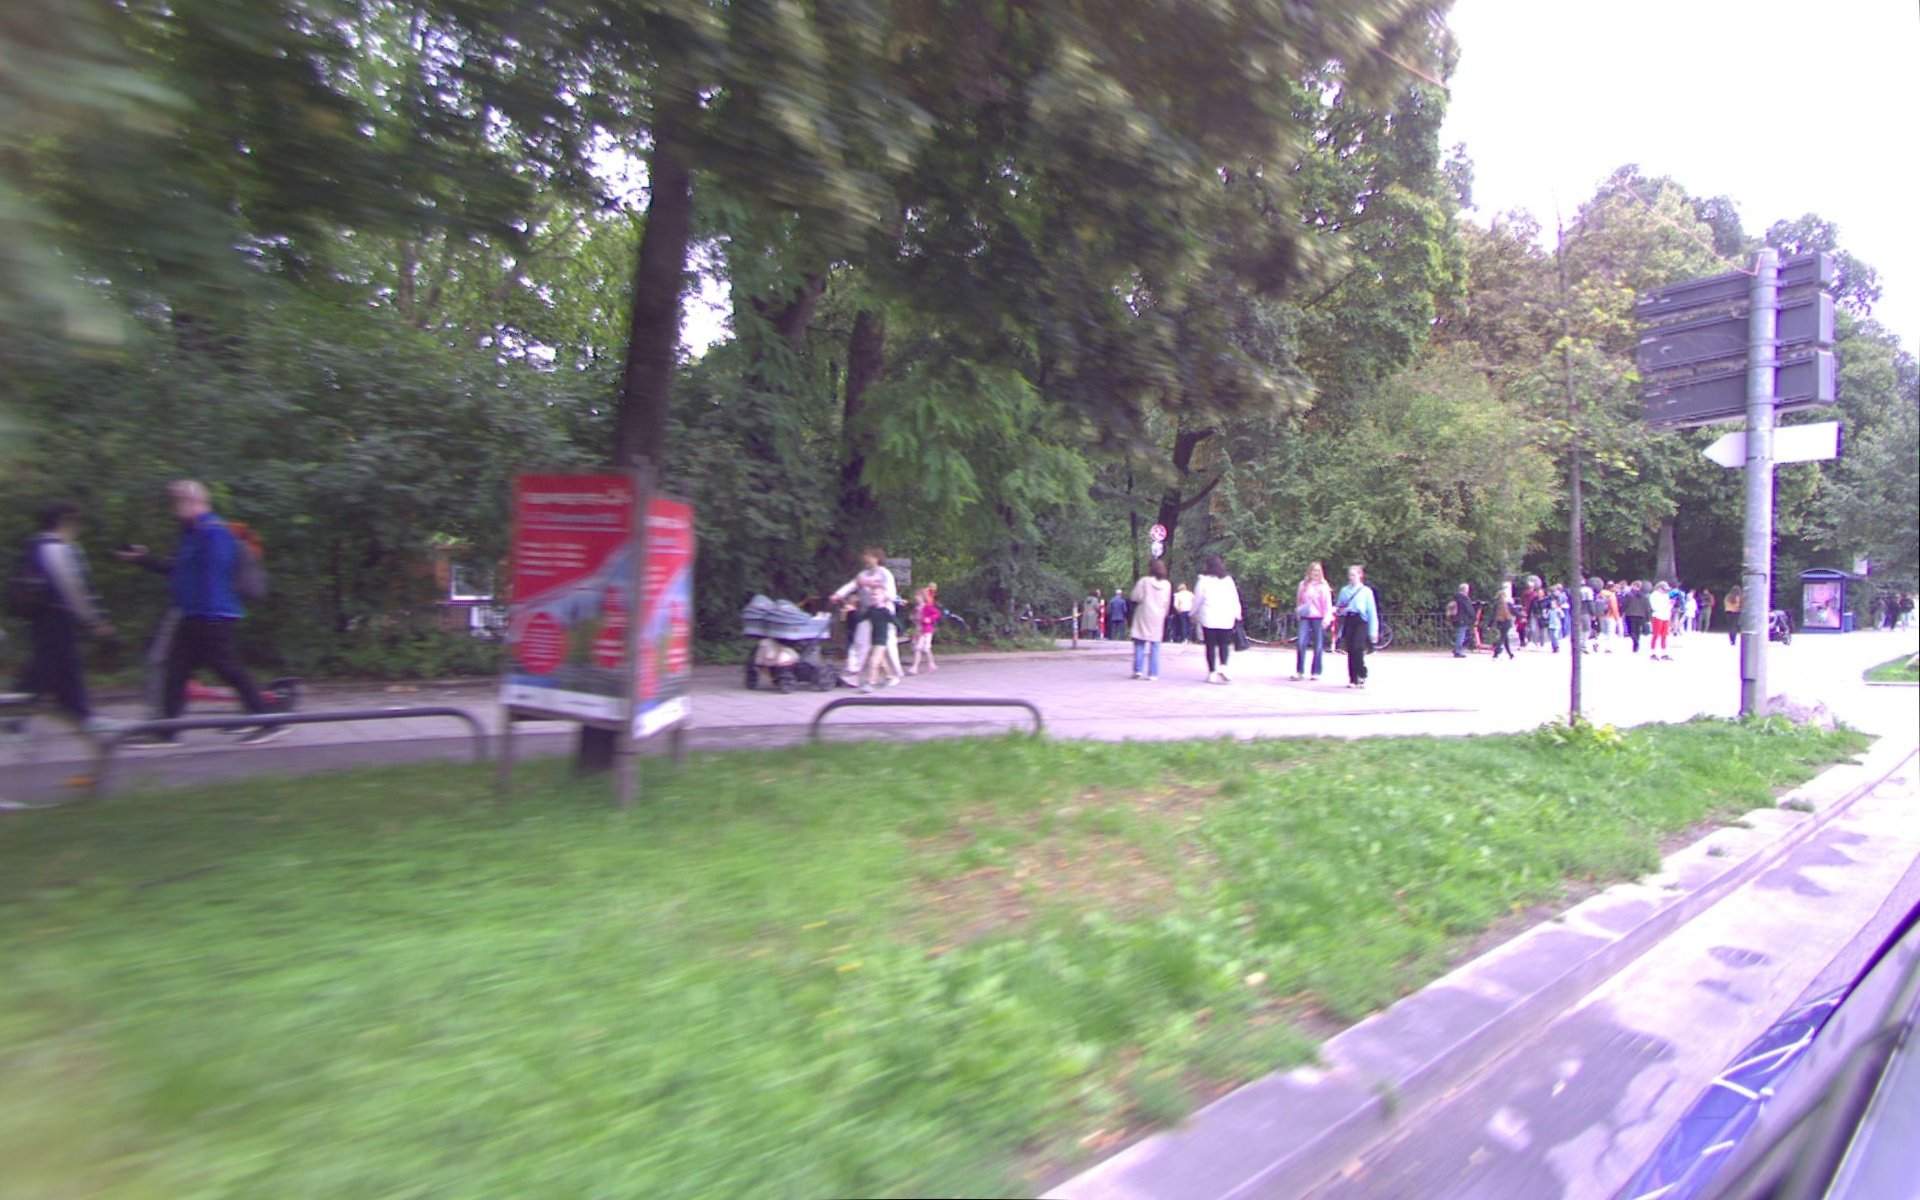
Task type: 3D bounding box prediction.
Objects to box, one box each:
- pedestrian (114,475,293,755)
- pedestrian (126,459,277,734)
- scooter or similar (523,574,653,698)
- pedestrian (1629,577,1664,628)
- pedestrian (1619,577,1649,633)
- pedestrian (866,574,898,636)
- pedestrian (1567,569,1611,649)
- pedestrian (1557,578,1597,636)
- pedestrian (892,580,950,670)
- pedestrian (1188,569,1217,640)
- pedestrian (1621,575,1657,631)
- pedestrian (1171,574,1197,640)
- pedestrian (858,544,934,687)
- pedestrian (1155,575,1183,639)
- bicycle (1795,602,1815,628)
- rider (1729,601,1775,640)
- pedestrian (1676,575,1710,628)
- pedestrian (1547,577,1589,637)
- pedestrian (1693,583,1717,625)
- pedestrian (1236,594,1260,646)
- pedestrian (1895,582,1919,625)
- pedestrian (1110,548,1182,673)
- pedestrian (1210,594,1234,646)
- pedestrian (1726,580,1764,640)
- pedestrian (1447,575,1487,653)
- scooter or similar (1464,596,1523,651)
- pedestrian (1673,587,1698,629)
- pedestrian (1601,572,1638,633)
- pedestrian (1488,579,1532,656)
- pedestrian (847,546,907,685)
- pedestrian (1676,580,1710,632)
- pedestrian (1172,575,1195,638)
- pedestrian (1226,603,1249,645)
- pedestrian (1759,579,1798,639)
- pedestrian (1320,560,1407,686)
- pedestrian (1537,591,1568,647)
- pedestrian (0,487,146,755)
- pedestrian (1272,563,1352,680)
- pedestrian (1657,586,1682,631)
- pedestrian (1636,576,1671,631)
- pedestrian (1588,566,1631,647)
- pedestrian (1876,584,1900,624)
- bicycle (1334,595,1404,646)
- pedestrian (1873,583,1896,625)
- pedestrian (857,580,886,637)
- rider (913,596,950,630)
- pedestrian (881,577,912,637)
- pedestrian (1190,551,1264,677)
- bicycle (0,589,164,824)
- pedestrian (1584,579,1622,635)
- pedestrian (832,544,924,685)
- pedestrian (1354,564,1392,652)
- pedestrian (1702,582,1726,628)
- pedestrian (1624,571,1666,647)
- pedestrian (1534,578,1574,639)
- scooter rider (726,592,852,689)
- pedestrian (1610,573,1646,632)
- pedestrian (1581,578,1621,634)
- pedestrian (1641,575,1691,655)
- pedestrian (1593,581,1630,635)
[{"bbox_3d":[-5.093,0.093,6.876,0.832,1.759,0.758,0,0,-26],"label":"pedestrian"},{"bbox_3d":[-5.458,-0.023,7.287,0.835,1.845,0.589,0,-1,-40],"label":"pedestrian"},{"bbox_3d":[-3.847,0.350,10.508,1.197,1.214,0.418,0,0,-41],"label":"scooter or similar"},{"bbox_3d":[23.254,0.077,34.280,0.661,1.712,0.814,0,0,-38],"label":"pedestrian"},{"bbox_3d":[21.045,0.152,31.592,0.715,1.712,0.593,0,-1,-39],"label":"pedestrian"},{"bbox_3d":[-2.195,0.144,28.632,0.687,1.717,0.605,0,0,30],"label":"pedestrian"},{"bbox_3d":[15.073,0.210,24.244,0.678,1.896,0.612,0,0,-25],"label":"pedestrian"},{"bbox_3d":[18.486,0.193,30.340,0.715,1.712,0.814,0,1,-39],"label":"pedestrian"},{"bbox_3d":[-0.516,0.320,13.391,0.561,1.151,0.634,0,0,-26],"label":"pedestrian"},{"bbox_3d":[5.929,0.110,24.781,0.683,1.717,0.609,0,0,14],"label":"pedestrian"},{"bbox_3d":[22.702,0.097,33.832,0.715,1.813,0.814,0,0,-39],"label":"pedestrian"},{"bbox_3d":[6.185,0.190,27.957,0.556,1.785,0.523,0,0,-10],"label":"pedestrian"},{"bbox_3d":[-0.719,0.164,11.297,0.552,1.534,0.682,0,-1,-40],"label":"pedestrian"},{"bbox_3d":[5.879,0.188,28.509,0.540,1.785,0.612,0,0,-19],"label":"pedestrian"},{"bbox_3d":[34.682,0.611,41.542,1.549,1.074,0.393,0,-1,-42],"label":"bicycle"},{"bbox_3d":[23.527,0.604,30.064,1.221,1.126,0.767,0,0,-36],"label":"rider"},{"bbox_3d":[26.009,0.064,35.910,0.715,1.852,0.814,0,0,-39],"label":"pedestrian"},{"bbox_3d":[17.915,0.198,29.812,0.715,1.711,0.814,0,2,-39],"label":"pedestrian"},{"bbox_3d":[29.168,0.155,39.608,0.523,1.647,0.637,0,-1,-38],"label":"pedestrian"},{"bbox_3d":[8.300,0.562,29.186,0.507,1.492,0.409,0,0,-19],"label":"pedestrian"},{"bbox_3d":[43.450,0.150,46.425,0.940,1.939,0.709,0,-1,-41],"label":"pedestrian"},{"bbox_3d":[2.576,0.138,14.055,0.676,1.664,0.758,0,0,-26],"label":"pedestrian"},{"bbox_3d":[7.480,0.563,28.906,0.507,1.492,0.409,0,0,-19],"label":"pedestrian"},{"bbox_3d":[23.092,0.286,29.767,0.636,1.712,0.728,0,0,-36],"label":"pedestrian"},{"bbox_3d":[11.059,0.300,22.091,0.683,1.672,0.608,0,0,16],"label":"pedestrian"},{"bbox_3d":[12.589,0.534,23.921,0.341,1.272,1.570,0,0,-11],"label":"scooter or similar"},{"bbox_3d":[27.035,0.293,37.714,0.523,1.526,0.637,0,-1,-38],"label":"pedestrian"},{"bbox_3d":[21.474,0.075,32.952,0.715,1.941,0.814,0,0,-39],"label":"pedestrian"},{"bbox_3d":[11.669,0.370,21.484,0.683,1.598,0.609,0,0,14],"label":"pedestrian"},{"bbox_3d":[-0.976,0.177,11.876,0.561,1.586,0.487,0,0,-26],"label":"pedestrian"},{"bbox_3d":[25.556,0.193,35.286,0.715,1.790,0.814,0,0,-39],"label":"pedestrian"},{"bbox_3d":[6.346,0.187,28.795,0.427,1.785,0.528,0,0,-19],"label":"pedestrian"},{"bbox_3d":[8.135,0.700,29.652,0.507,1.213,0.409,0,0,-19],"label":"pedestrian"},{"bbox_3d":[23.564,0.253,29.137,0.636,1.712,0.728,0,0,-36],"label":"pedestrian"},{"bbox_3d":[5.556,0.301,13.951,0.832,1.664,0.758,0,0,-26],"label":"pedestrian"},{"bbox_3d":[14.587,0.462,24.911,0.636,1.343,0.459,0,0,-36],"label":"pedestrian"},{"bbox_3d":[-6.302,0.136,7.044,0.832,1.759,0.758,0,0,-26],"label":"pedestrian"},{"bbox_3d":[5.183,0.298,14.920,0.832,1.664,0.758,0,0,-26],"label":"pedestrian"},{"bbox_3d":[26.003,0.295,37.076,0.523,1.637,0.637,0,-1,-38],"label":"pedestrian"},{"bbox_3d":[23.810,0.111,34.733,0.715,1.875,0.814,0,0,-39],"label":"pedestrian"},{"bbox_3d":[15.729,0.151,24.508,0.678,1.939,0.612,0,0,-25],"label":"pedestrian"},{"bbox_3d":[43.416,0.189,47.336,0.933,1.831,0.709,0,0,-41],"label":"pedestrian"},{"bbox_3d":[10.169,0.494,25.200,1.581,1.255,0.389,0,0,22],"label":"bicycle"},{"bbox_3d":[43.196,0.164,47.282,0.940,1.939,0.709,0,-1,-41],"label":"pedestrian"},{"bbox_3d":[-2.728,0.257,31.143,0.687,1.717,0.605,0,0,30],"label":"pedestrian"},{"bbox_3d":[-0.803,0.355,28.839,0.884,0.953,0.605,0,0,30],"label":"rider"},{"bbox_3d":[-1.823,0.197,29.137,0.687,1.717,0.605,0,0,30],"label":"pedestrian"},{"bbox_3d":[3.647,0.179,13.846,0.637,1.664,0.758,0,0,-26],"label":"pedestrian"},{"bbox_3d":[-4.686,0.468,4.292,2.042,1.034,0.385,0,0,-41],"label":"bicycle"},{"bbox_3d":[20.345,0.217,32.035,0.715,1.761,0.814,0,0,-39],"label":"pedestrian"},{"bbox_3d":[-0.964,0.157,11.898,0.857,1.586,0.682,0,0,-40],"label":"pedestrian"},{"bbox_3d":[9.105,0.175,22.353,0.683,1.896,0.609,0,0,14],"label":"pedestrian"},{"bbox_3d":[29.717,0.198,39.887,0.523,1.790,0.637,0,-1,-38],"label":"pedestrian"},{"bbox_3d":[17.416,0.217,25.750,0.678,1.896,0.612,0,0,-25],"label":"pedestrian"},{"bbox_3d":[17.147,0.239,29.221,0.715,1.712,0.814,0,0,-39],"label":"pedestrian"},{"bbox_3d":[-1.883,0.422,11.171,1.095,0.997,0.857,1,-1,-41],"label":"scooter rider"},{"bbox_3d":[22.063,0.079,33.417,0.715,1.898,0.814,0,0,-39],"label":"pedestrian"},{"bbox_3d":[19.865,0.175,31.385,0.715,1.711,0.814,0,2,-39],"label":"pedestrian"},{"bbox_3d":[15.539,0.326,22.275,0.636,1.712,0.728,0,0,-36],"label":"pedestrian"},{"bbox_3d":[20.913,0.240,32.495,0.715,1.712,0.814,0,0,-39],"label":"pedestrian"}]
